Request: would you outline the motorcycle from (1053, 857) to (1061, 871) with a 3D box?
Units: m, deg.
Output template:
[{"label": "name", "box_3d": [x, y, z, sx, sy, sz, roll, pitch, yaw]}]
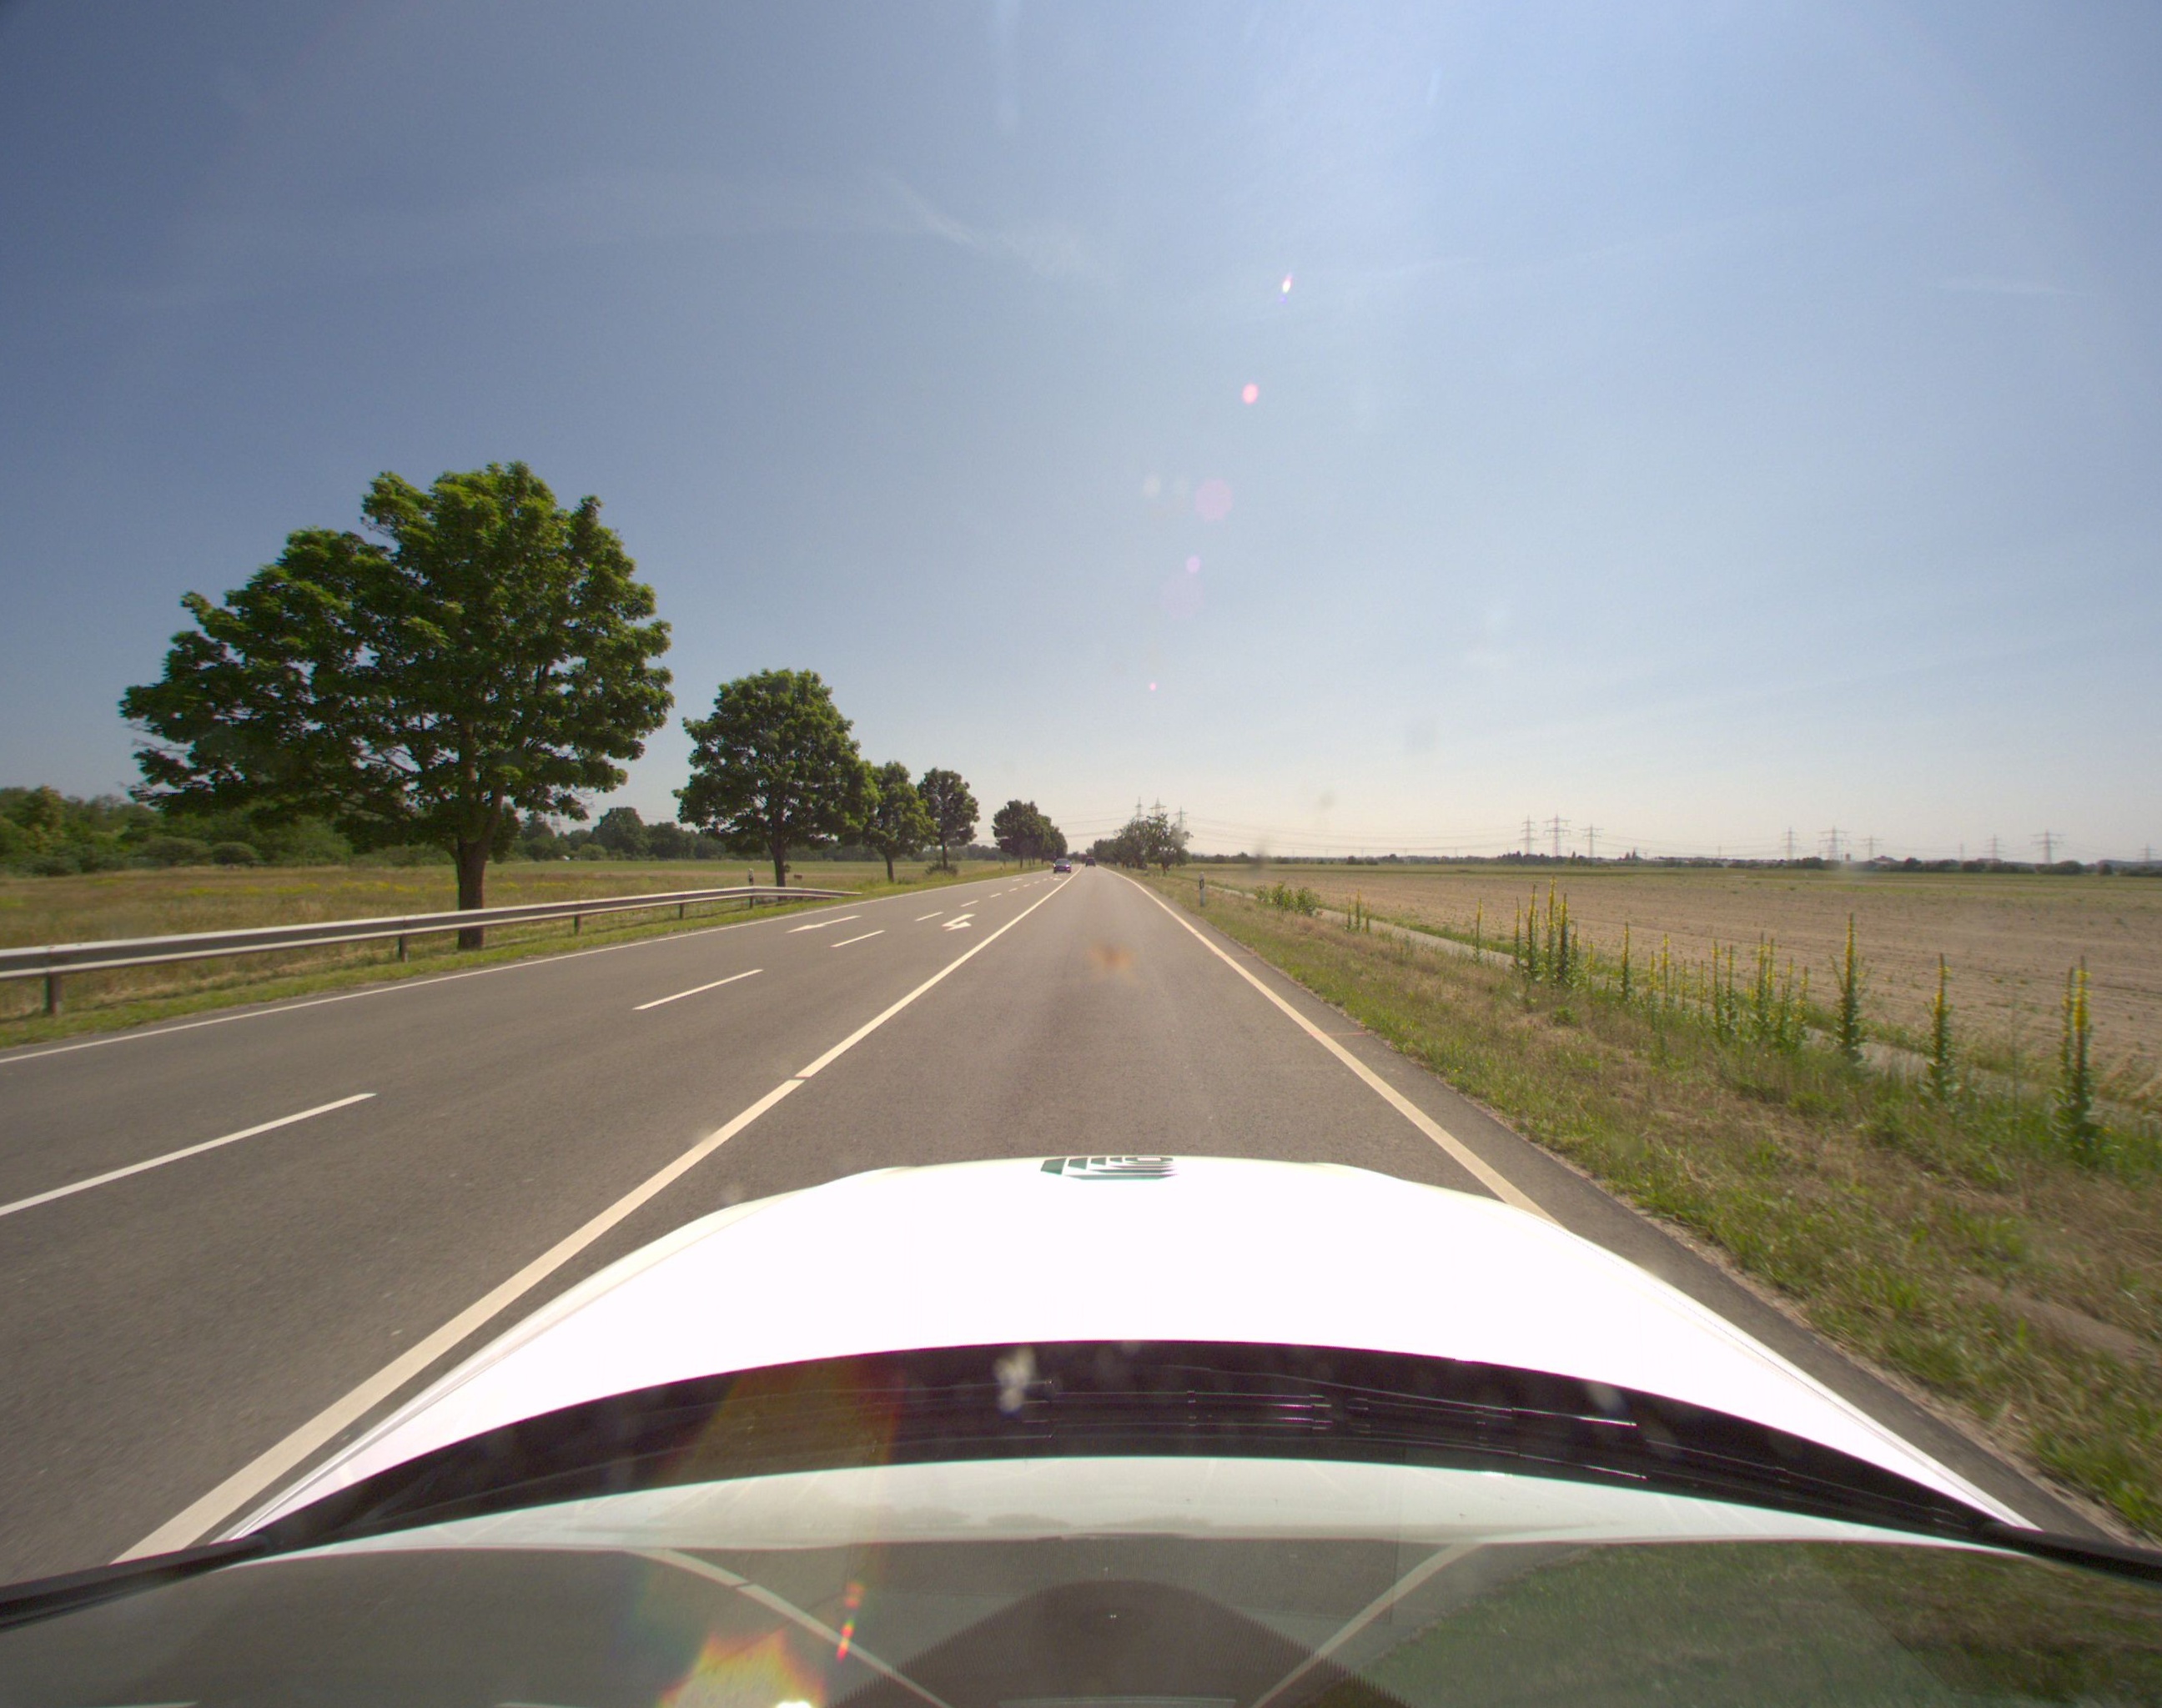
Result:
[{"label": "motorcycle", "box_3d": [-3.196, 1.291, 107.236, 0.885, 1.743, 2.446, -1, 0, 1]}]

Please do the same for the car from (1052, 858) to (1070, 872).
[{"label": "car", "box_3d": [-2.092, 1.141, 86.323, 1.734, 1.473, 4.617, -1, 0, 0]}]

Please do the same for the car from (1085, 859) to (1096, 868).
[{"label": "car", "box_3d": [1.764, 1.720, 152.180, 1.879, 1.518, 4.039, 2, 0, 0]}]

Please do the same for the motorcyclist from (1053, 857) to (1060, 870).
[{"label": "motorcyclist", "box_3d": [-3.206, 1.271, 107.100, 0.850, 1.721, 1.089, -1, -1, 3]}]
